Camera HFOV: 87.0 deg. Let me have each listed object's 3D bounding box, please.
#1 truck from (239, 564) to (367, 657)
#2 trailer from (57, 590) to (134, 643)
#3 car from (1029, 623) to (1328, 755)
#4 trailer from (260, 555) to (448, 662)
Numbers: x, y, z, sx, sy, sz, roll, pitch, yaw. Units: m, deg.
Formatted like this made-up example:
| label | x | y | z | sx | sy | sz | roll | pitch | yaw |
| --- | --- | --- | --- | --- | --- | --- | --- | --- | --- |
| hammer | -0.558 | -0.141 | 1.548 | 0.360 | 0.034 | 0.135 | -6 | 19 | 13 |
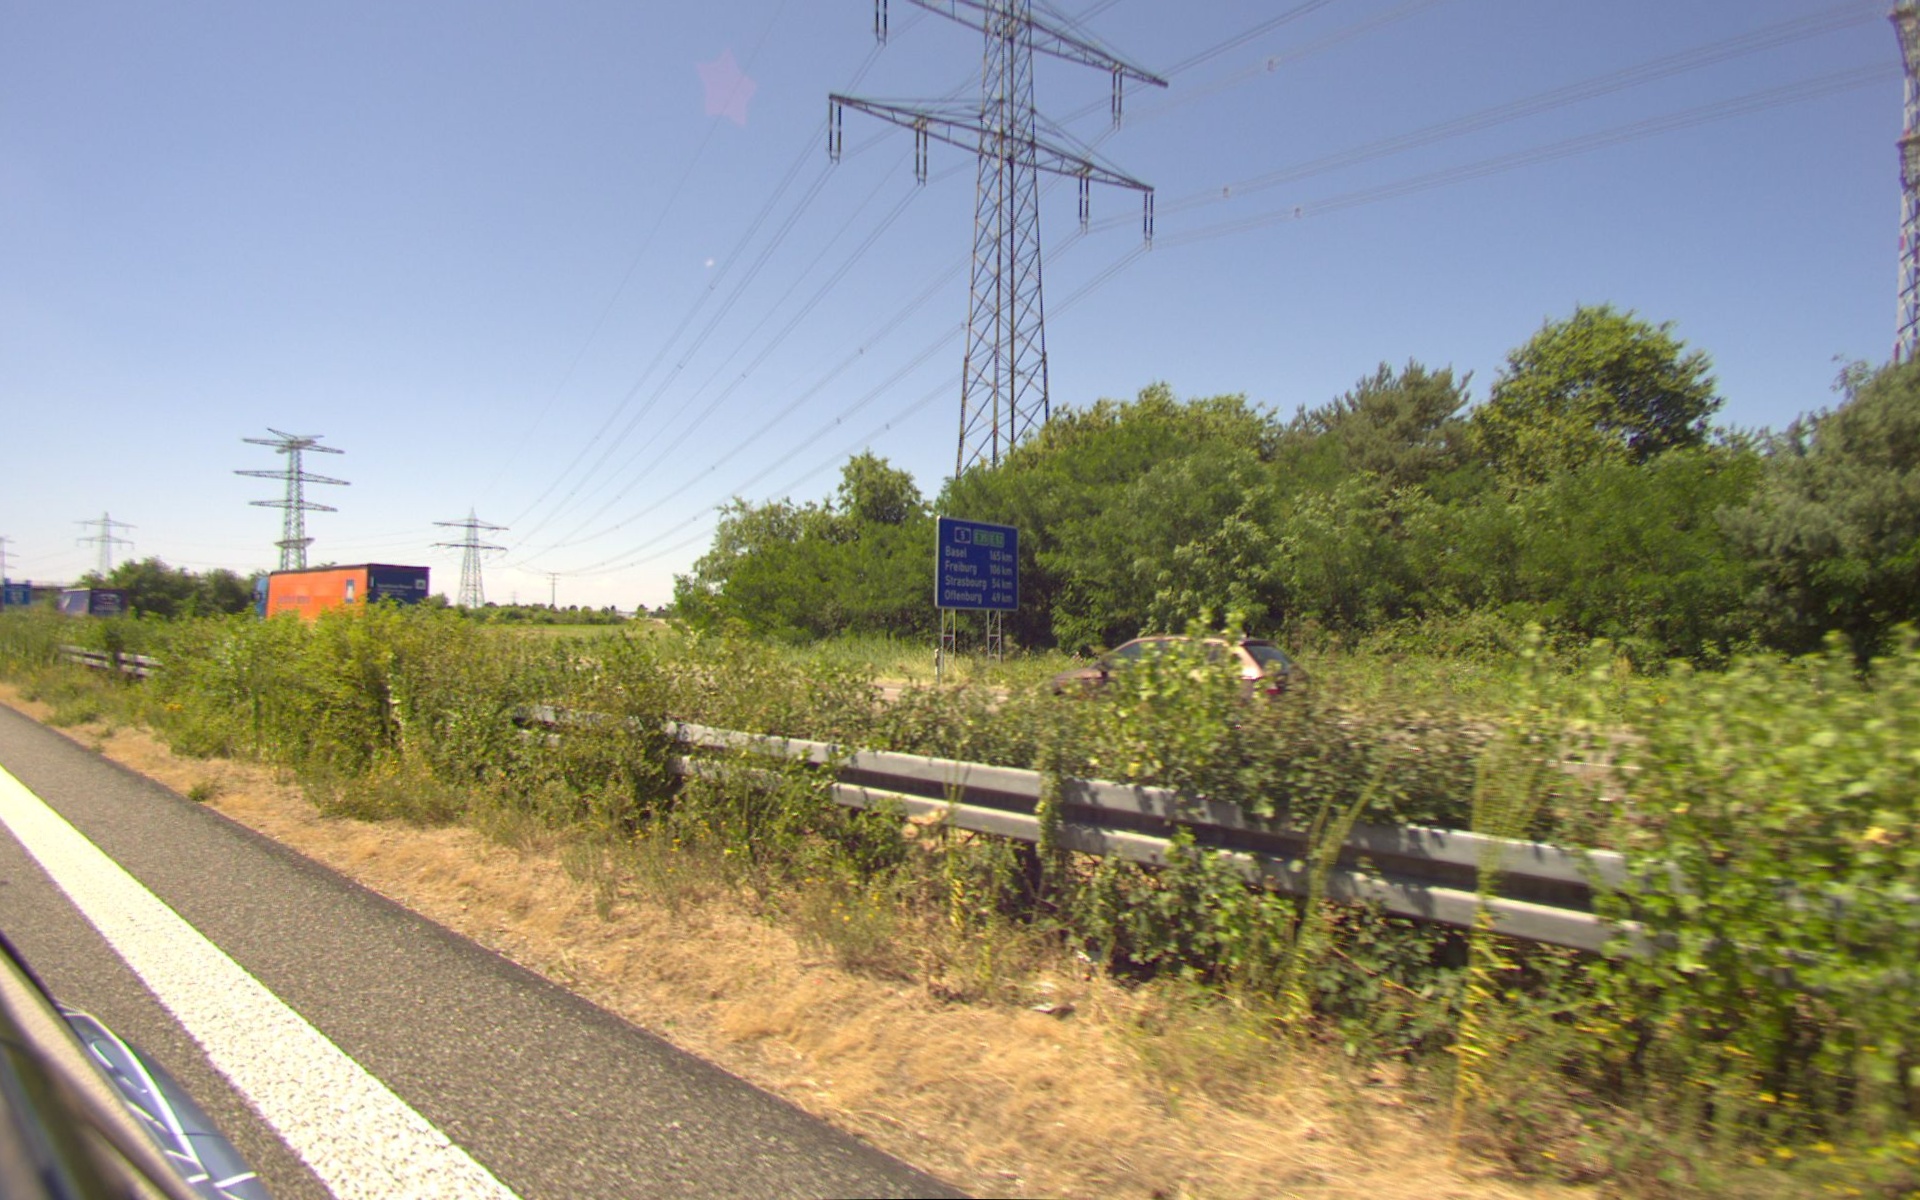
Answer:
| label | x | y | z | sx | sy | sz | roll | pitch | yaw |
| --- | --- | --- | --- | --- | --- | --- | --- | --- | --- |
| truck | -34.515 | 0.626 | 53.032 | 7.967 | 4.441 | 3.309 | -1 | -4 | 41 |
| trailer | -77.896 | 1.522 | 91.035 | 14.224 | 4.441 | 3.055 | -1 | -4 | 41 |
| car | 2.888 | 1.110 | 13.734 | 3.615 | 1.545 | 1.684 | -1 | -3 | 40 |
| trailer | -29.424 | 0.532 | 48.603 | 14.157 | 4.441 | 3.309 | -1 | -4 | 41 |
